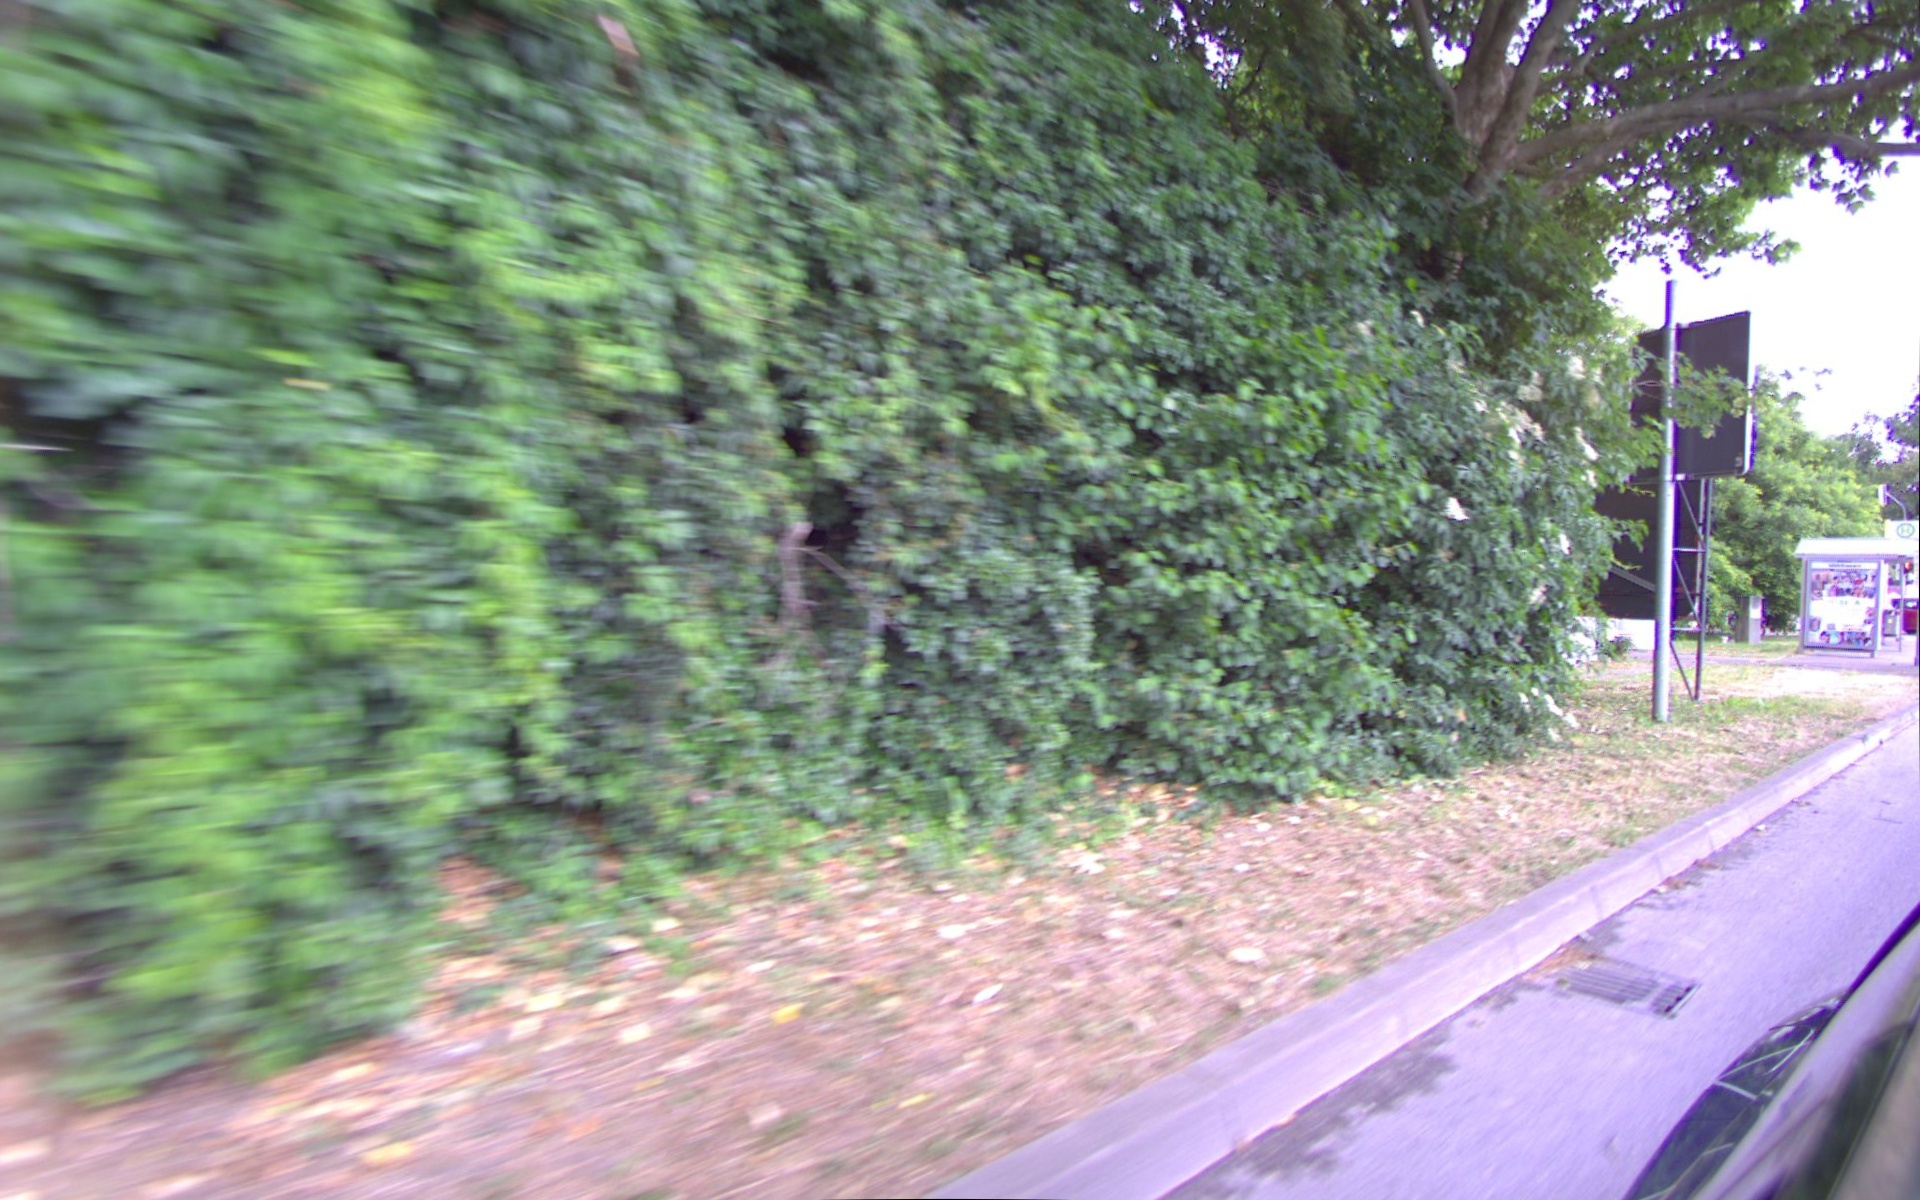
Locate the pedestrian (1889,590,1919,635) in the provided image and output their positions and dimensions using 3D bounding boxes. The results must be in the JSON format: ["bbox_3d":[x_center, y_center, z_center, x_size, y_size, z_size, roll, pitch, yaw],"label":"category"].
[{"bbox_3d":[32.777,0.421,35.052,0.659,1.532,0.755,0,3,-40],"label":"pedestrian"}]

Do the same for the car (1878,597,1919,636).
[{"bbox_3d":[42.831,0.765,43.645,1.857,1.637,4.518,1,1,-14],"label":"car"}]

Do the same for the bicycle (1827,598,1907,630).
[{"bbox_3d":[29.395,0.433,32.815,0.535,0.936,1.871,0,2,-39],"label":"bicycle"}]

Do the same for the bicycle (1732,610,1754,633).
[{"bbox_3d":[28.366,0.762,36.672,0.476,0.818,1.490,1,0,44],"label":"bicycle"}]

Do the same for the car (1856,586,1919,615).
[{"bbox_3d":[52.082,0.035,55.755,3.802,1.472,1.613,2,1,34],"label":"car"}]
